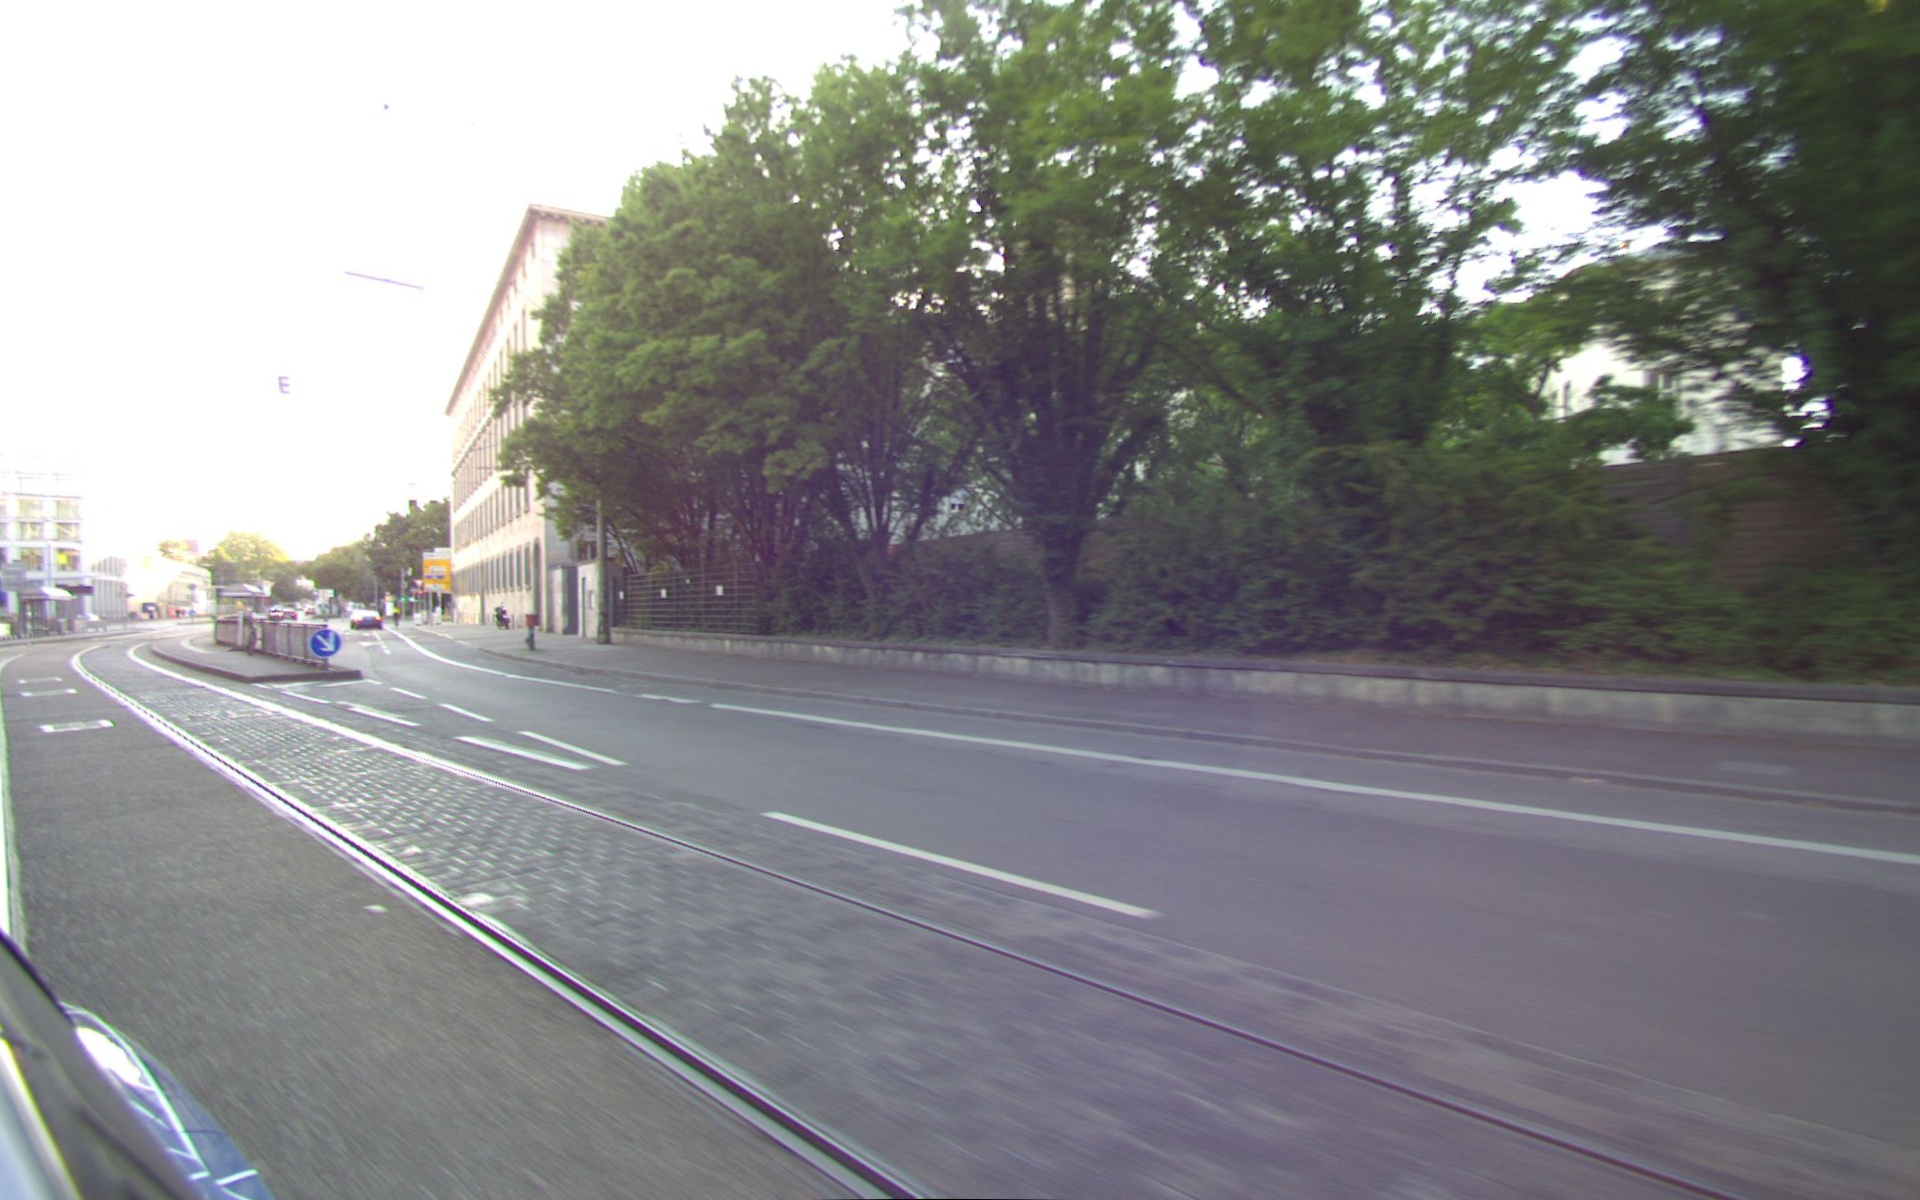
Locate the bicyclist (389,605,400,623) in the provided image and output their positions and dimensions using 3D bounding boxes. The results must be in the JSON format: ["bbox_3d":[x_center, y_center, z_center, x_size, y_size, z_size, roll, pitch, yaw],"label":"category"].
[{"bbox_3d":[-47.825,1.167,85.565,0.745,1.451,0.599,-1,-1,-30],"label":"bicyclist"}]

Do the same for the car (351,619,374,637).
[{"bbox_3d":[-49.191,2.265,83.284,1.620,1.438,4.245,0,-1,-31],"label":"car"}]

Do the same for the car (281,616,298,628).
[{"bbox_3d":[-87.058,2.836,131.406,1.669,1.431,4.186,-1,0,-31],"label":"car"}]

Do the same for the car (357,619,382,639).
[{"bbox_3d":[-45.544,2.229,78.031,1.620,1.438,3.716,-1,0,-31],"label":"car"}]

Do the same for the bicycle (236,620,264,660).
[{"bbox_3d":[-19.740,1.099,28.128,0.456,1.083,2.025,0,-1,-40],"label":"bicycle"}]

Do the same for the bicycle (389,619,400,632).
[{"bbox_3d":[-47.706,2.141,85.329,0.731,1.025,1.766,-1,-1,-30],"label":"bicycle"}]

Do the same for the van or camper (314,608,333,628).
[{"bbox_3d":[-95.466,2.673,151.816,2.076,2.702,4.724,-2,-2,-29],"label":"van or camper"}]

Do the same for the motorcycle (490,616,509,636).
[{"bbox_3d":[-25.819,1.452,56.757,0.688,1.083,2.661,0,-1,-31],"label":"motorcycle"}]

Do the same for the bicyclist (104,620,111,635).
[{"bbox_3d":[-93.897,3.018,111.461,0.532,1.648,0.599,-1,-1,-31],"label":"bicyclist"}]

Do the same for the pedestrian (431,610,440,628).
[{"bbox_3d":[-49.993,1.790,96.428,0.686,1.723,0.648,-1,-1,-28],"label":"pedestrian"}]

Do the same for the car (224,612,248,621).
[{"bbox_3d":[-146.251,3.297,204.423,3.745,1.661,1.869,-1,-1,-31],"label":"car"}]
